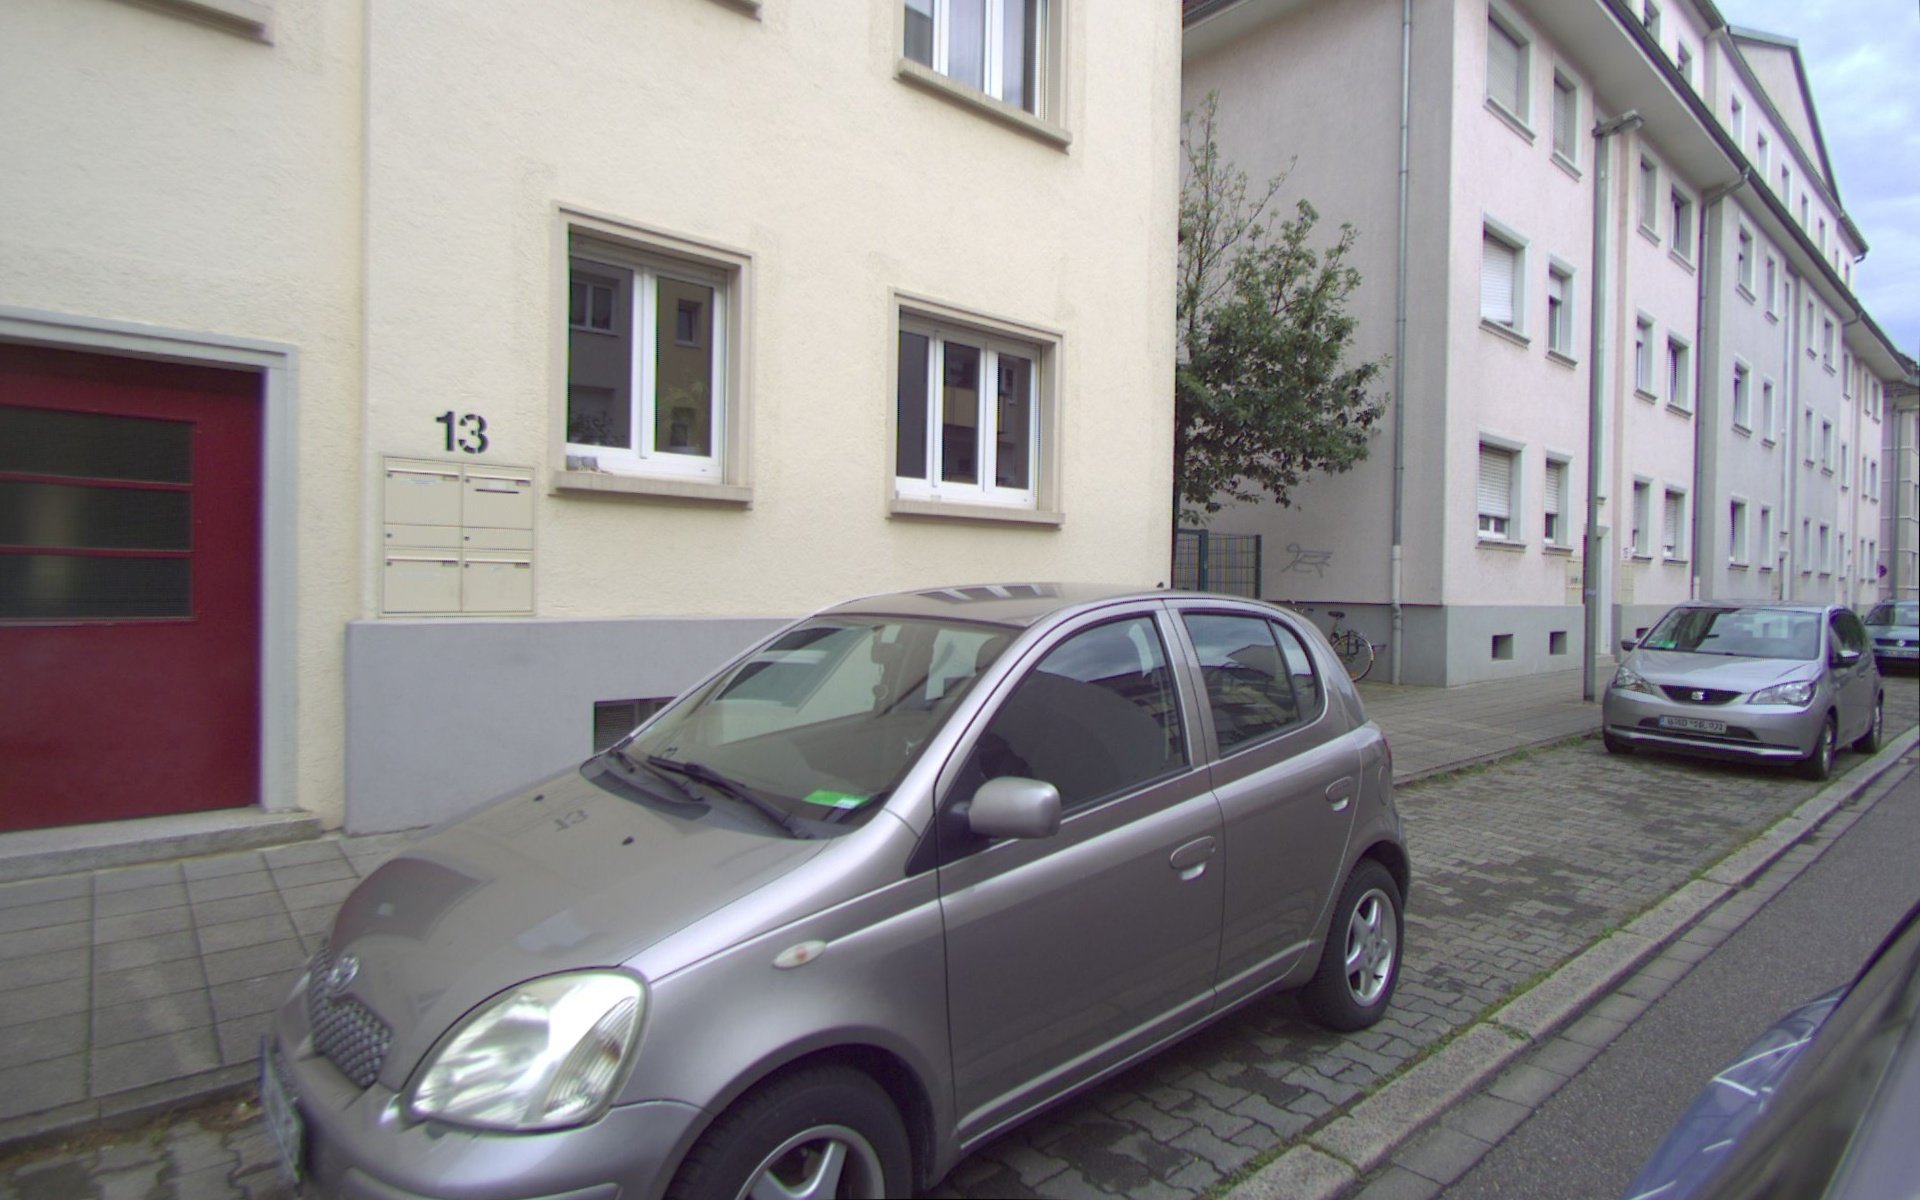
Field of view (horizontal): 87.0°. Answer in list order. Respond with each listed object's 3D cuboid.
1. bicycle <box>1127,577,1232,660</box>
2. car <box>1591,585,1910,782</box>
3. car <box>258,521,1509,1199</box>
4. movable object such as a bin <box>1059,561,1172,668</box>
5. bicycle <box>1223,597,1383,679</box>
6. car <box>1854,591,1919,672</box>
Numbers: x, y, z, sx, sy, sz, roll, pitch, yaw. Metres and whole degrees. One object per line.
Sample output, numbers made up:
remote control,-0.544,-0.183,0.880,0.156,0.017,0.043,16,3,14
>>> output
bicycle,3.567,0.274,16.522,0.589,1.298,1.616,0,1,-44
car,7.754,0.631,9.797,3.990,1.511,1.728,0,1,-41
car,0.173,0.631,3.408,3.991,1.536,1.727,0,1,-42
movable object such as a bin,2.253,0.180,14.678,1.129,1.462,1.163,0,1,-41
bicycle,4.992,0.519,14.881,0.637,1.090,2.211,0,1,-41
car,19.344,0.586,20.206,4.190,1.487,1.728,0,1,-41
